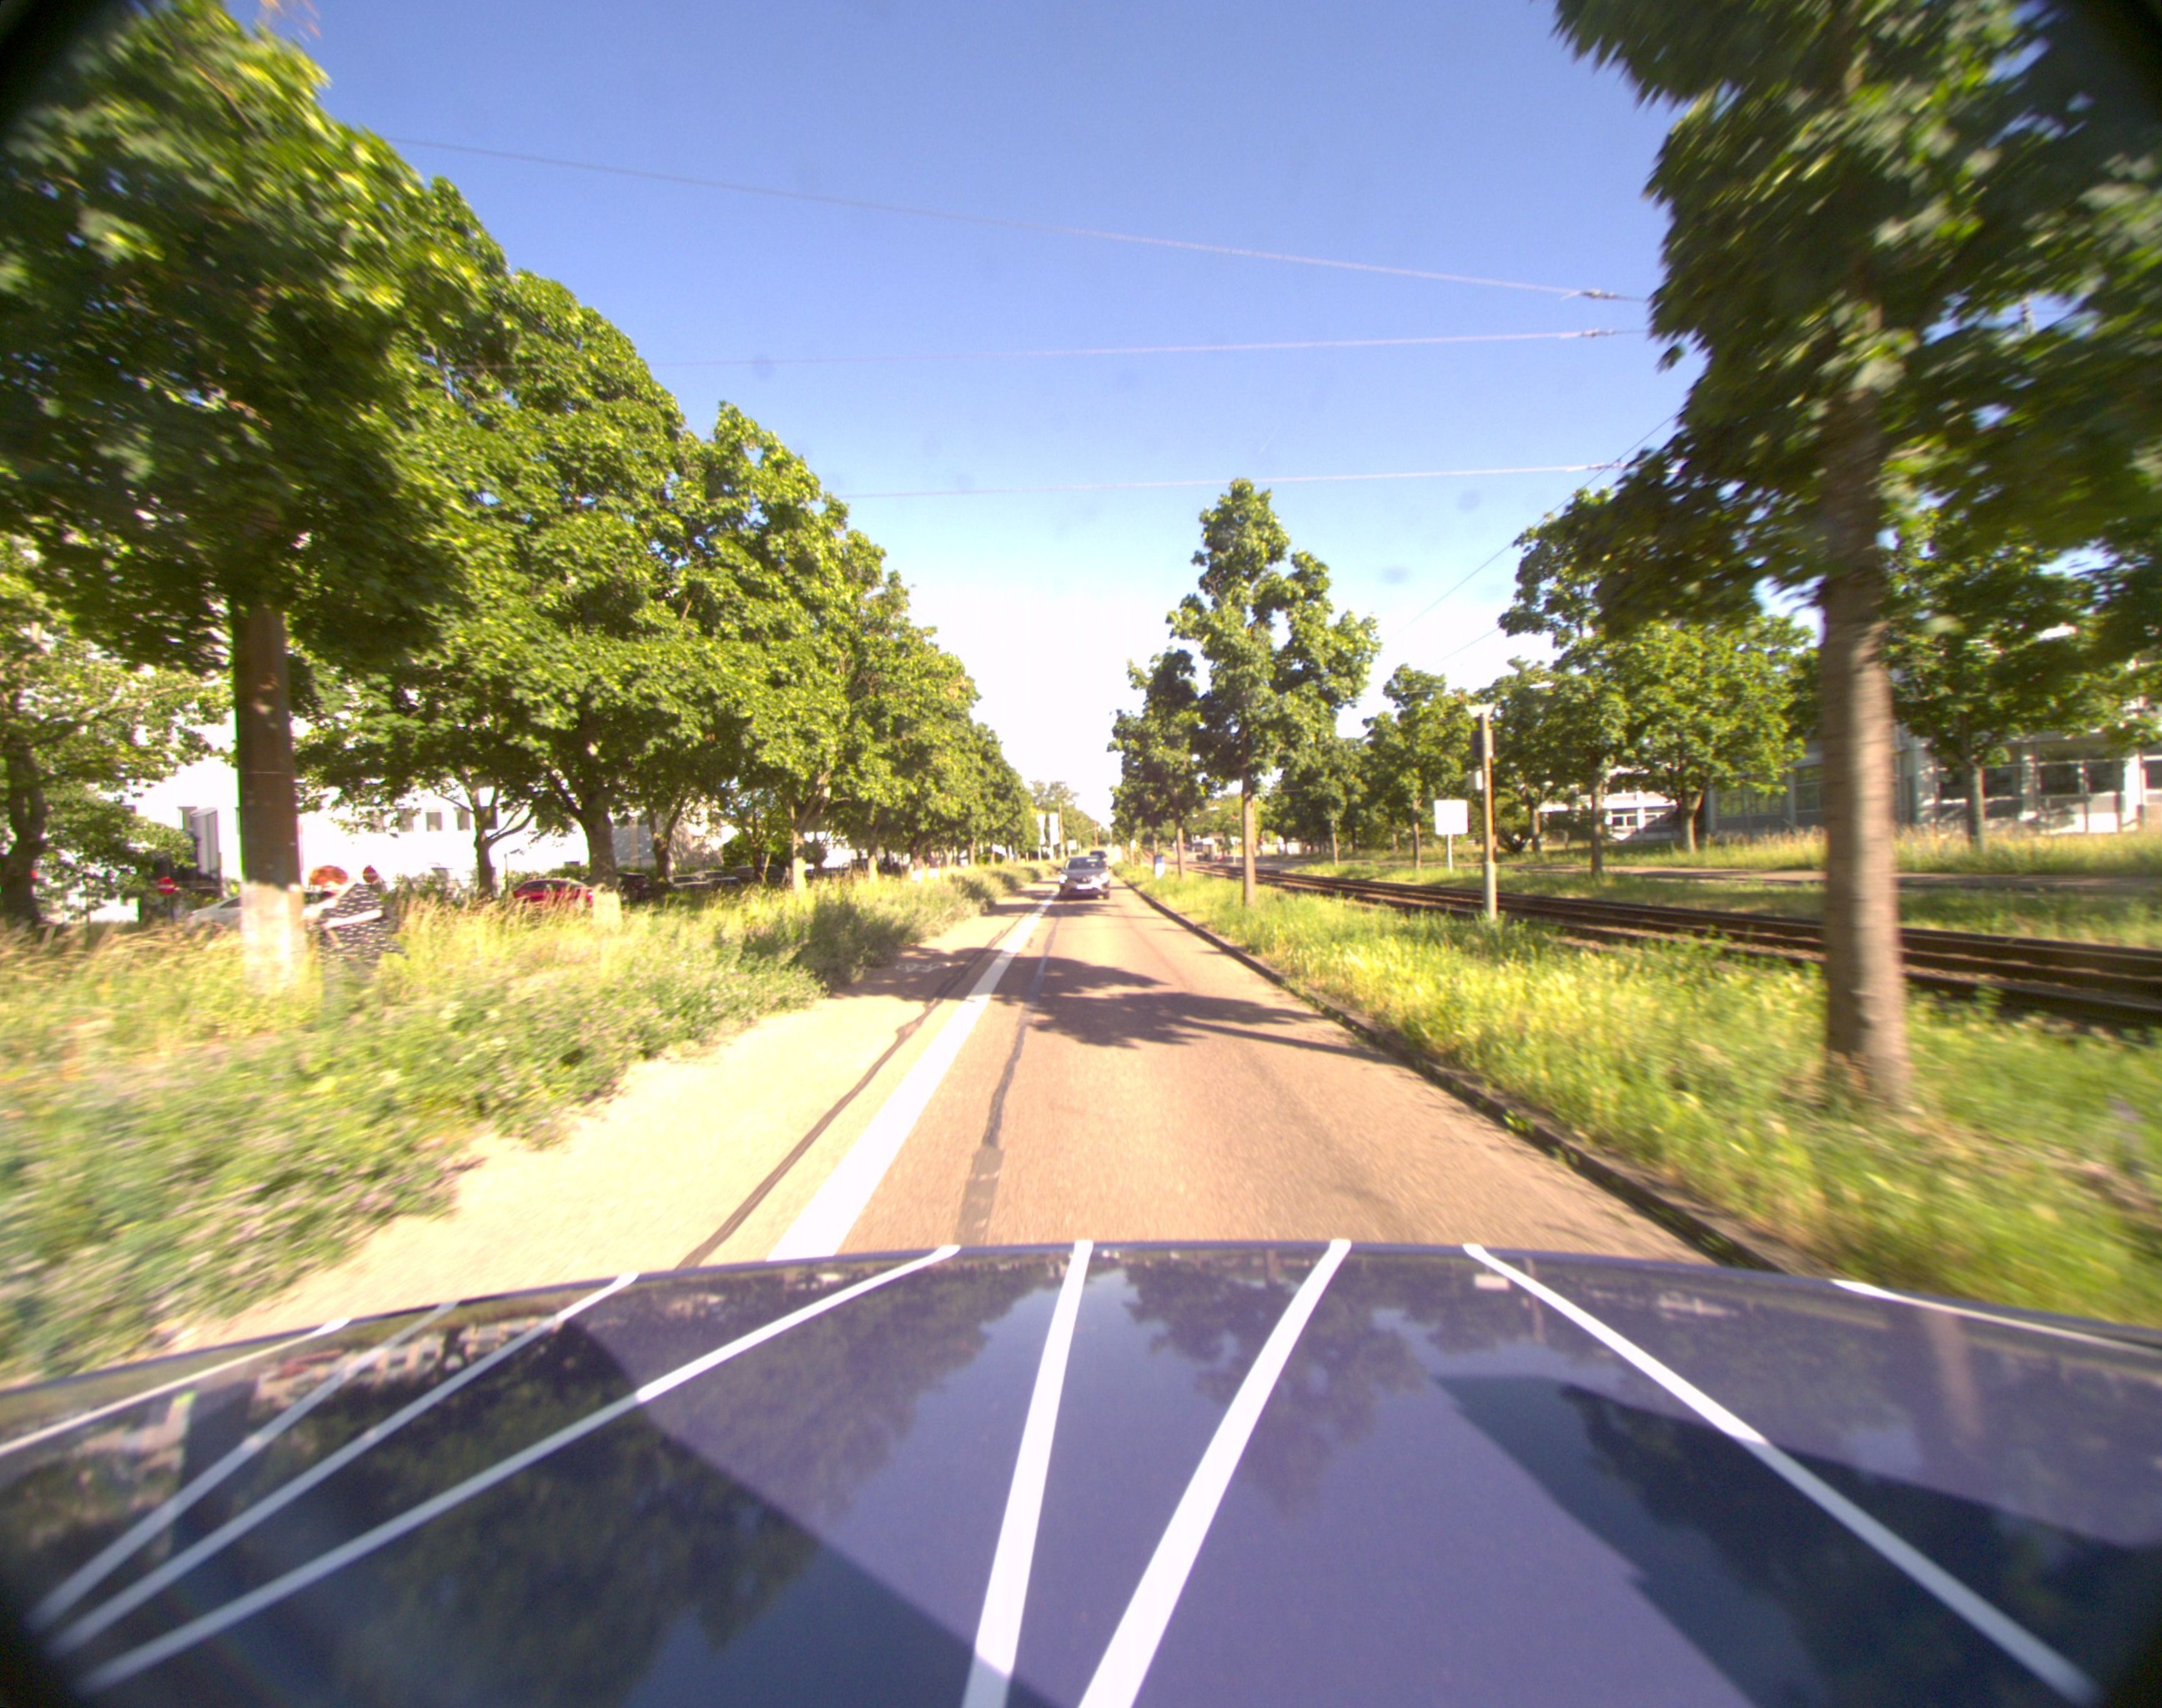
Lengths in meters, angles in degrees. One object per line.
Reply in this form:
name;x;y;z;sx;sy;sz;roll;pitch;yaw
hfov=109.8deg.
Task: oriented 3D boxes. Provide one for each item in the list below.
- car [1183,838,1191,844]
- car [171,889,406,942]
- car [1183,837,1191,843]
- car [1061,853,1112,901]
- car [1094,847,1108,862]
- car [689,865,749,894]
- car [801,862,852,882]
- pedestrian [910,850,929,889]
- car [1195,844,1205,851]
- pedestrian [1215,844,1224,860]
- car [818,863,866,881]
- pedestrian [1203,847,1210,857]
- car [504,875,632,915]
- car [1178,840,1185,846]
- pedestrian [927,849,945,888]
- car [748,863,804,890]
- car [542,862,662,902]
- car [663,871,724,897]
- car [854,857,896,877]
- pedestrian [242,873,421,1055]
car;28.543;-3.526;205.158;1.701;1.575;3.456;-2;0;0
car;-22.592;1.721;21.812;4.710;1.263;1.807;-2;-1;-2
car;30.097;-4.002;215.496;1.701;1.575;3.456;-2;0;0
car;0.204;0.797;28.824;1.750;1.585;4.246;-1;1;0
car;2.315;0.039;90.565;1.555;1.765;3.456;-2;0;0
car;-22.021;1.555;46.113;3.976;1.629;1.727;-3;1;40
car;-22.190;1.573;66.098;4.537;1.506;1.851;-3;1;36
pedestrian;-8.108;0.773;38.199;0.709;1.919;0.816;-3;1;1
car;27.862;-1.605;177.385;1.771;1.575;3.456;-2;0;0
pedestrian;15.281;-0.228;83.867;0.786;1.741;0.781;-3;1;1
car;-21.875;1.628;69.461;4.537;1.440;1.851;-3;1;36
pedestrian;16.268;-0.298;98.482;0.650;1.242;0.681;0;0;-7
car;-22.335;1.747;33.218;4.244;1.527;1.765;-2;0;-9
car;31.154;-3.387;236.736;1.701;1.575;3.456;-2;0;0
pedestrian;-7.302;0.714;38.271;0.710;1.907;0.816;-3;1;-3
car;-22.077;1.646;54.832;1.922;1.741;5.442;-3;1;-42
car;-22.310;1.280;35.549;4.349;1.690;1.765;-2;0;-9
car;-21.817;1.679;42.682;3.976;1.333;1.712;-3;1;43
car;-21.929;1.383;80.781;2.084;1.865;5.173;-3;1;-44
pedestrian;-6.998;0.992;7.136;0.826;1.560;0.762;-3;1;1
